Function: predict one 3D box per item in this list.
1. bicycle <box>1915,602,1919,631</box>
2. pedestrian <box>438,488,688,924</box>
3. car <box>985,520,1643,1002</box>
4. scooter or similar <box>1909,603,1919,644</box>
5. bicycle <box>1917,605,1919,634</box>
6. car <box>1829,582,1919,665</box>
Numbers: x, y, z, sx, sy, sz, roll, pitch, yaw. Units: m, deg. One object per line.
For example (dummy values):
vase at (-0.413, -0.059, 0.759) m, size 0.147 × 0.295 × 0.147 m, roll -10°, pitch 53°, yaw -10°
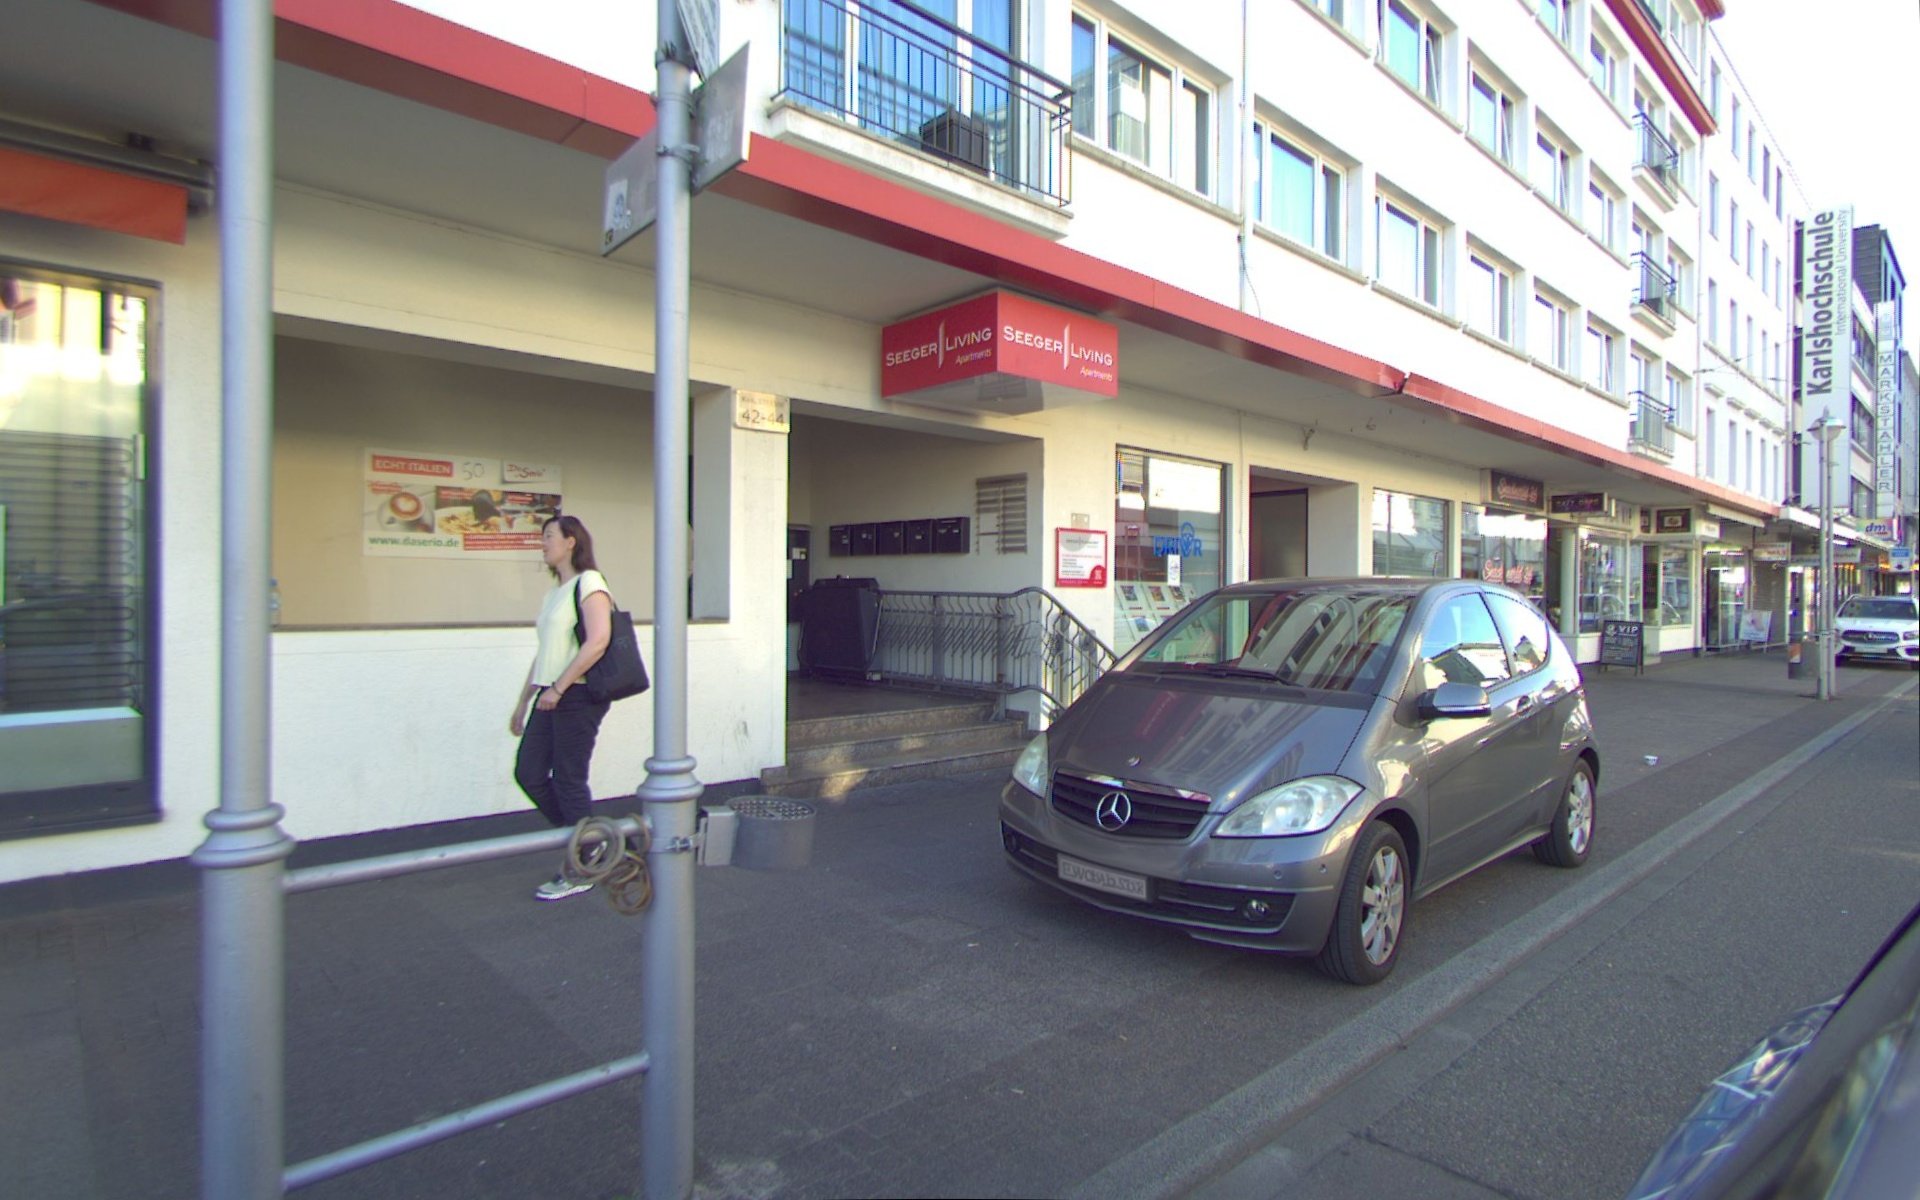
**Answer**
bicycle at (40.710, 0.708, 41.816) m, size 0.577 × 1.232 × 1.789 m, roll 0°, pitch 1°, yaw -42°
pedestrian at (-1.878, 0.430, 4.772) m, size 0.915 × 1.797 × 0.805 m, roll 0°, pitch 0°, yaw -37°
car at (2.038, 0.529, 5.326) m, size 3.586 × 1.652 × 1.748 m, roll 0°, pitch 1°, yaw -42°
scooter or similar at (29.571, 0.724, 30.774) m, size 0.314 × 1.247 × 0.994 m, roll 0°, pitch 2°, yaw -43°
bicycle at (39.258, 0.804, 40.158) m, size 0.658 × 1.174 × 1.789 m, roll 0°, pitch 1°, yaw -42°
car at (22.234, 0.479, 24.035) m, size 5.105 × 1.745 × 1.852 m, roll -1°, pitch 3°, yaw -43°
